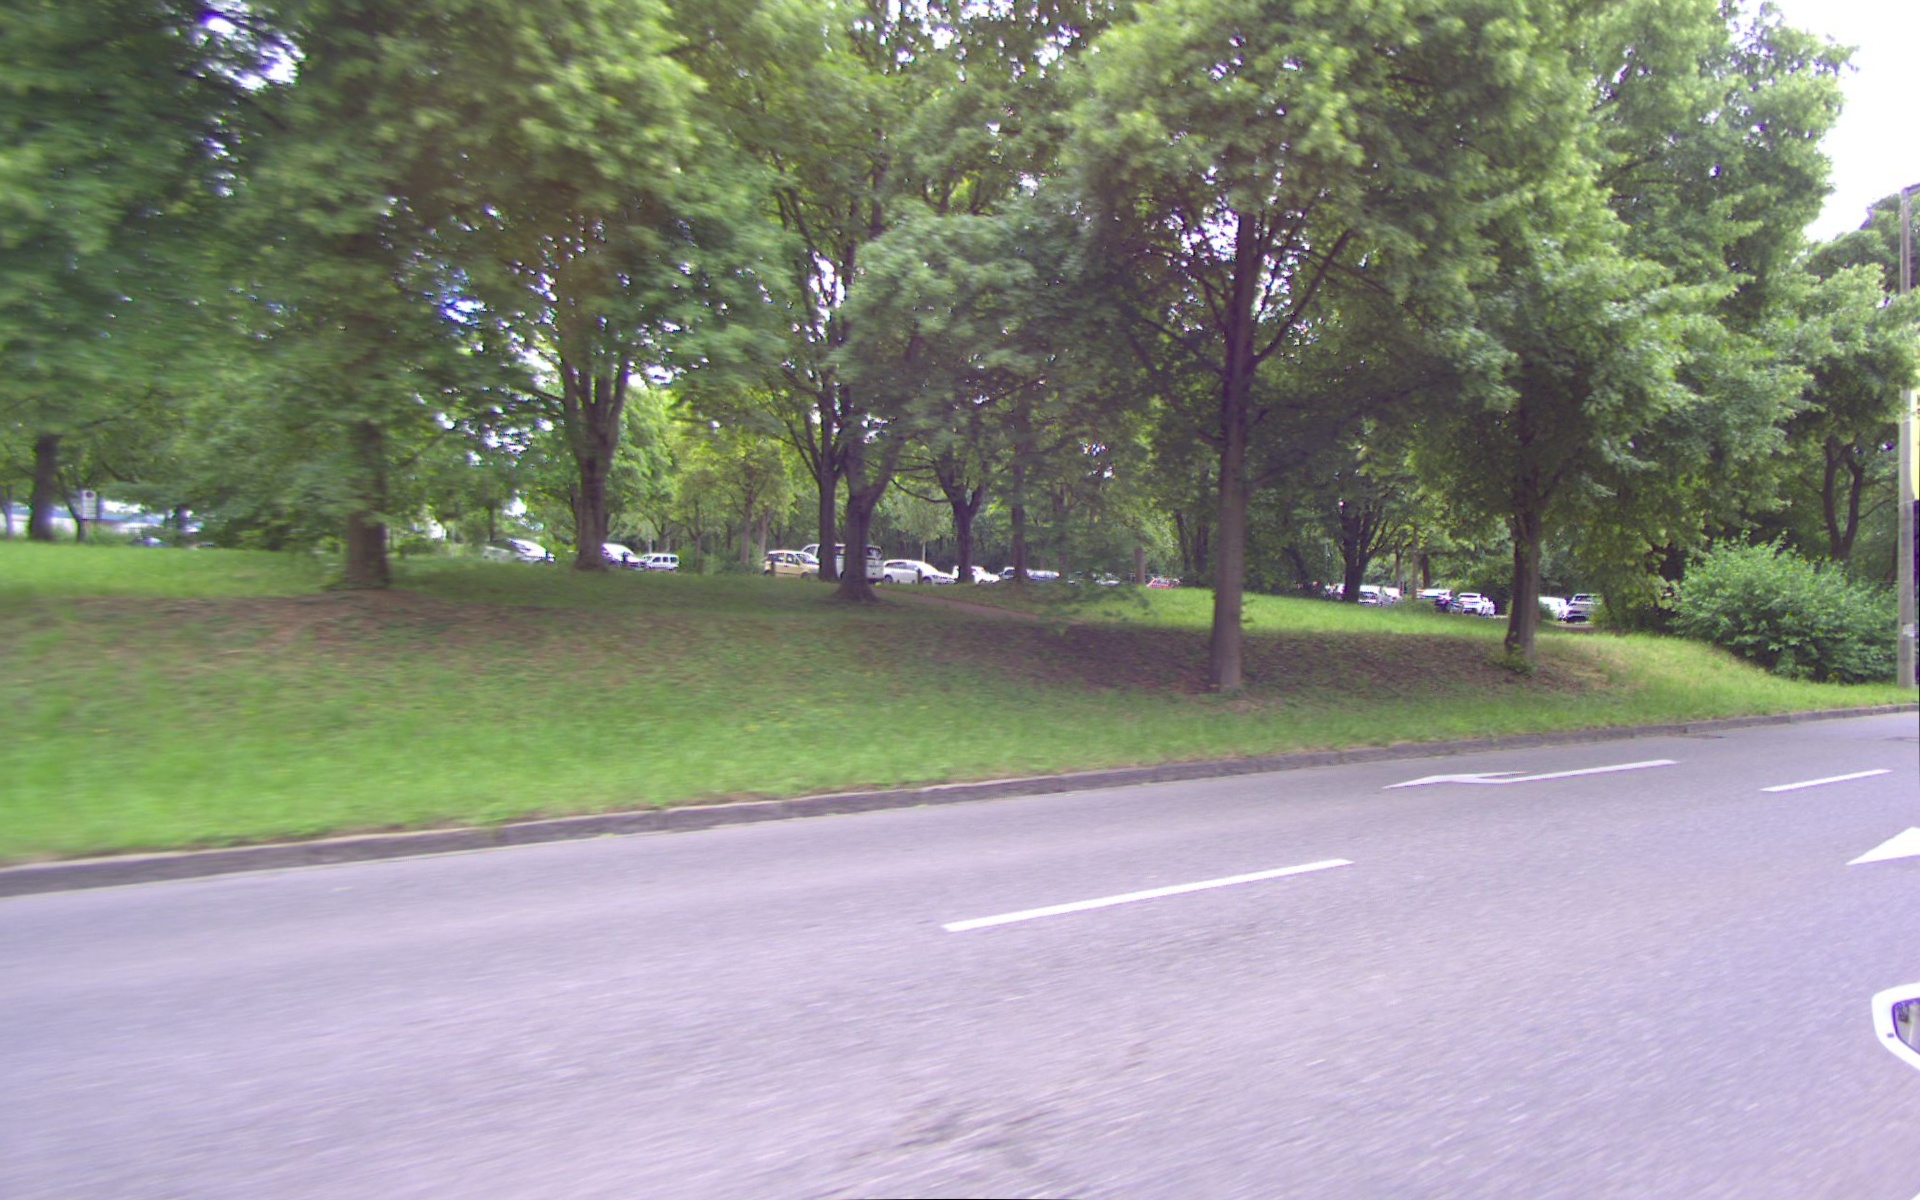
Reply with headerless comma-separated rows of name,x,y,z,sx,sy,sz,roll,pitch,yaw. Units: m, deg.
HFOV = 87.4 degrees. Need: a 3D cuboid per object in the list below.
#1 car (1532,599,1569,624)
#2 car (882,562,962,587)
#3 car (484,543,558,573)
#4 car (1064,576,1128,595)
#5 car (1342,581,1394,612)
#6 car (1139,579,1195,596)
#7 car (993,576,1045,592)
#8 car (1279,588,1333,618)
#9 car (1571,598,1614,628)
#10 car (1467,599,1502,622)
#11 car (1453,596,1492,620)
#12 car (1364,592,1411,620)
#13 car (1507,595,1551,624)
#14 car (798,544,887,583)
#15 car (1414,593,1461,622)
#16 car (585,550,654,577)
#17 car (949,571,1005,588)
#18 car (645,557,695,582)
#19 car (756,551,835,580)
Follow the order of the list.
car,36.745,0.729,62.458,1.624,1.506,3.986,2,0,36
car,-2.053,-1.358,53.646,3.919,1.226,1.897,2,0,35
car,-20.139,-1.912,46.084,3.448,1.250,1.396,2,0,32
car,9.343,-0.982,68.904,3.919,1.226,1.897,2,0,35
car,21.486,-0.153,52.830,1.624,1.506,3.986,1,0,36
car,16.326,-0.986,79.218,3.919,1.226,1.897,2,0,35
car,4.871,-1.301,83.688,3.919,1.226,1.897,2,0,35
car,18.600,0.181,53.889,1.624,1.506,3.986,2,0,36
car,33.002,0.681,52.370,1.624,1.506,3.986,2,0,36
car,36.826,0.756,70.461,1.624,1.506,3.986,2,0,36
car,33.242,0.538,65.122,1.624,1.506,3.986,2,0,36
car,24.447,0.360,57.421,1.624,1.506,3.986,2,0,36
car,30.726,0.530,54.205,1.624,1.506,3.986,2,0,36
car,-5.565,-1.718,47.494,4.048,1.706,1.748,2,0,36
car,26.397,0.410,55.498,1.624,1.506,3.986,2,0,36
car,-16.917,-1.808,49.845,3.448,1.250,1.396,2,0,32
car,1.282,-1.574,77.540,3.919,1.226,1.897,2,0,35
car,-26.064,-2.749,90.423,1.871,2.087,3.973,2,0,35
car,-7.409,-1.538,45.250,3.448,1.226,1.396,2,0,32
